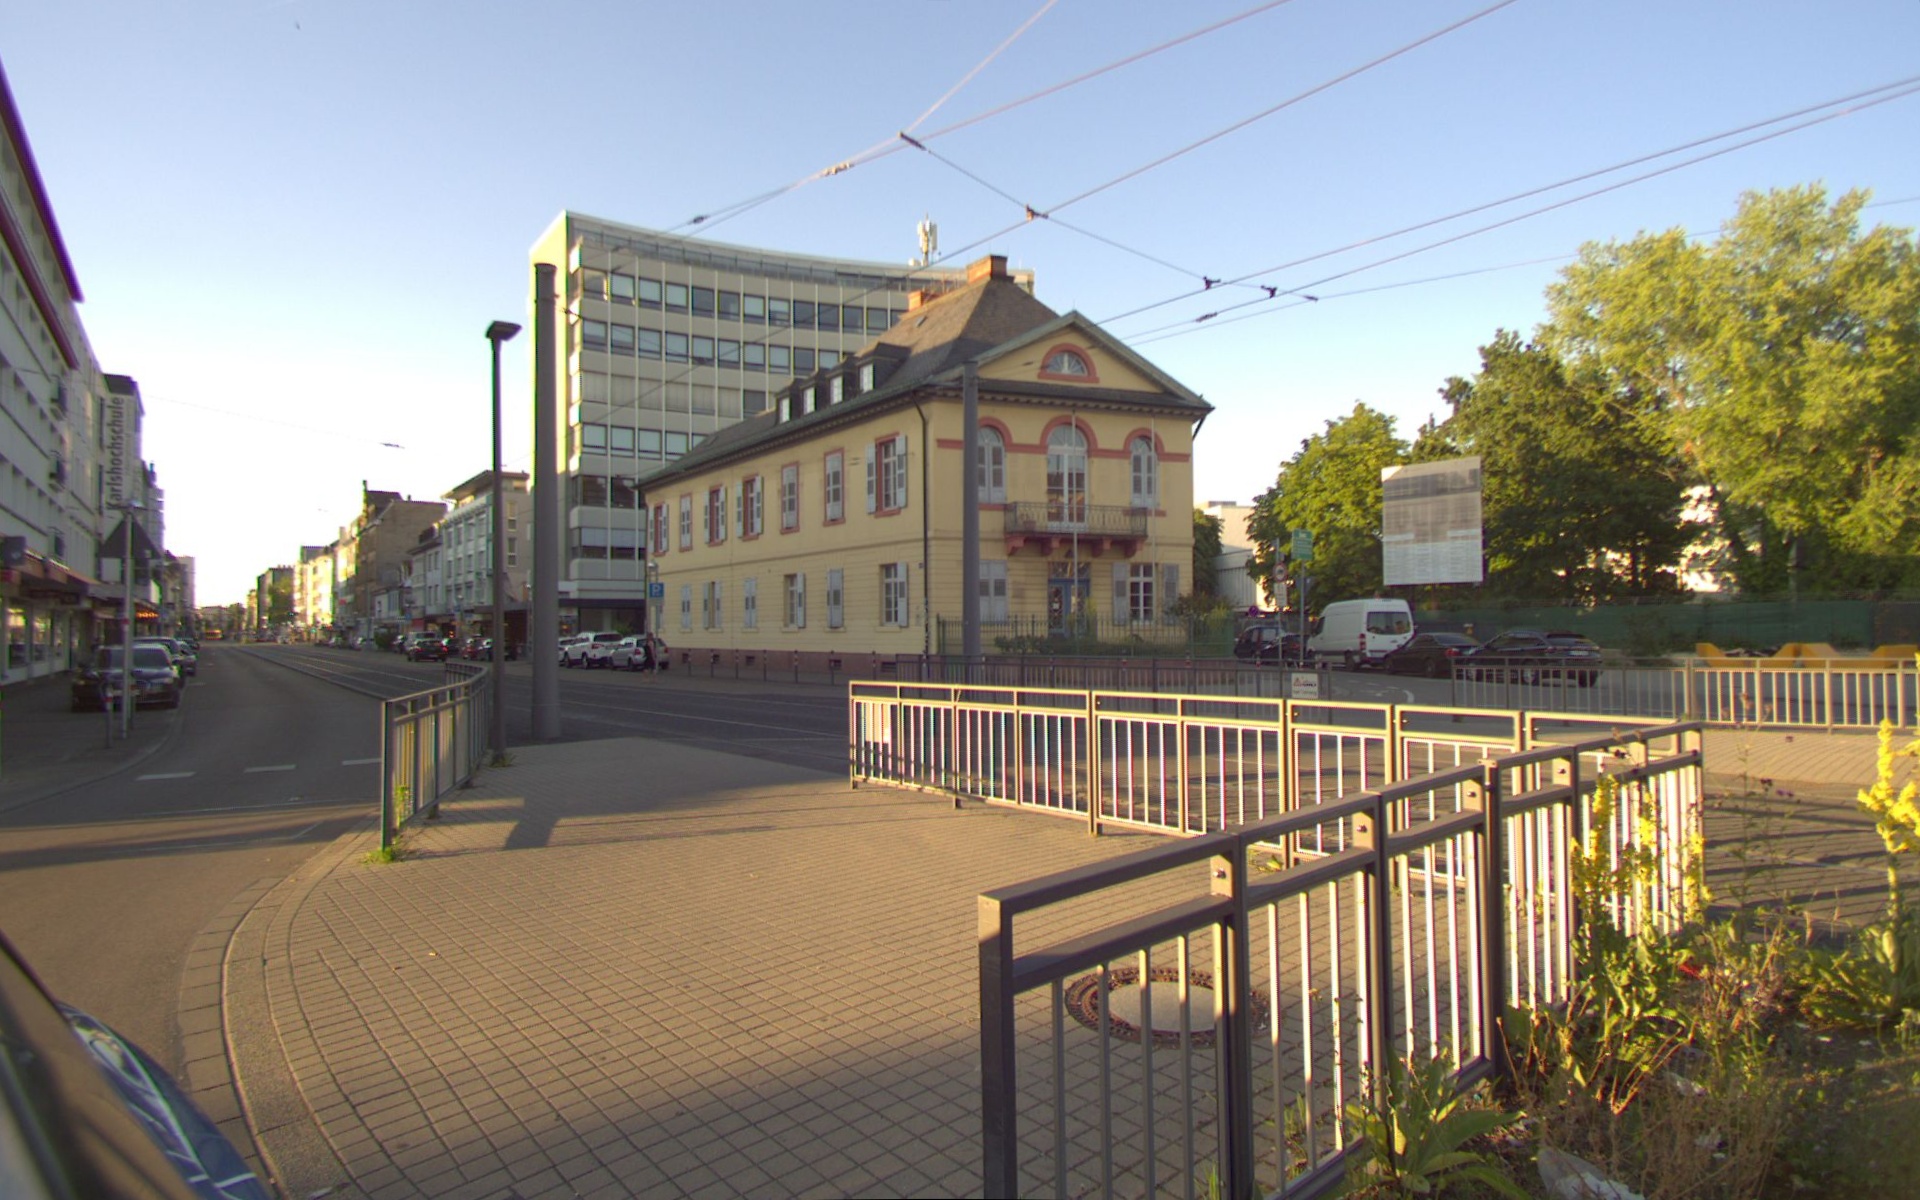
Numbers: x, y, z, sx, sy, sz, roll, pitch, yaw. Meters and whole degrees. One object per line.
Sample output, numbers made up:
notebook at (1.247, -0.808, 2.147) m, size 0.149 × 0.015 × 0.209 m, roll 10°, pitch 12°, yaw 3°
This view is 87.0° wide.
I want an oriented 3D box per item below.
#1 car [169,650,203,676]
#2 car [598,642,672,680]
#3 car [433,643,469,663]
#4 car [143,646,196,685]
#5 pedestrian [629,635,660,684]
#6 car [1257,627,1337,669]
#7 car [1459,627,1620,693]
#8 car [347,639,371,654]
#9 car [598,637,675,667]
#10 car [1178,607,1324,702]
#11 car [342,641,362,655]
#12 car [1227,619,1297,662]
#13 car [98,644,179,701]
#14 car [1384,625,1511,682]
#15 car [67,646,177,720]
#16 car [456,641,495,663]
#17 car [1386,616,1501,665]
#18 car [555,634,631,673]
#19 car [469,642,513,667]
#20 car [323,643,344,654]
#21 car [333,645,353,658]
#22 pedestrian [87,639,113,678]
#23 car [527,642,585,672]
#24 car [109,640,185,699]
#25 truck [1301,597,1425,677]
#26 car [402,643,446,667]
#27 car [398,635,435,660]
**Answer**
car at (-48.102, 3.887, 62.908) m, size 1.633 × 1.474 × 4.031 m, roll -1°, pitch -1°, yaw -37°
car at (-13.960, 2.595, 43.356) m, size 1.725 × 1.485 × 4.008 m, roll -1°, pitch -2°, yaw -37°
car at (-38.122, 3.964, 75.718) m, size 1.766 × 1.472 × 4.100 m, roll 1°, pitch -3°, yaw -36°
car at (-34.903, 2.849, 44.704) m, size 1.769 × 1.544 × 4.866 m, roll -1°, pitch -1°, yaw -38°
pedestrian at (-10.152, 1.906, 32.537) m, size 0.710 × 1.548 × 0.720 m, roll 2°, pitch -3°, yaw -41°
car at (14.513, 2.035, 43.766) m, size 1.971 × 1.589 × 4.001 m, roll -2°, pitch -1°, yaw -1°
car at (15.749, 1.571, 27.789) m, size 1.971 × 1.558 × 4.001 m, roll -2°, pitch -1°, yaw -1°
car at (-67.798, 5.232, 114.100) m, size 1.867 × 1.568 × 4.633 m, roll -1°, pitch -1°, yaw -37°
car at (-19.296, 3.087, 60.383) m, size 3.937 × 1.565 × 1.917 m, roll -1°, pitch -1°, yaw -39°
car at (6.909, 1.248, 23.815) m, size 1.997 × 2.029 × 3.950 m, roll -2°, pitch -3°, yaw 37°
car at (-70.951, 5.602, 118.045) m, size 1.634 × 1.582 × 3.477 m, roll -1°, pitch -1°, yaw -38°
car at (14.377, 1.885, 48.402) m, size 1.971 × 1.900 × 4.001 m, roll -2°, pitch -1°, yaw -1°
car at (-23.567, 2.020, 29.126) m, size 1.630 × 1.431 × 4.200 m, roll -1°, pitch -1°, yaw -37°
car at (15.486, 1.661, 32.387) m, size 1.971 × 1.589 × 4.001 m, roll -2°, pitch -1°, yaw -1°
car at (-19.302, 1.827, 23.469) m, size 1.767 × 1.423 × 4.697 m, roll -1°, pitch -1°, yaw -37°
car at (-32.537, 3.486, 67.932) m, size 1.669 × 1.445 × 3.600 m, roll 0°, pitch -3°, yaw -37°
car at (20.962, 1.758, 43.954) m, size 1.969 × 2.029 × 4.006 m, roll 1°, pitch -3°, yaw -41°
car at (-17.358, 2.503, 47.710) m, size 1.863 × 1.673 × 4.769 m, roll -1°, pitch -1°, yaw -39°
car at (-29.475, 3.429, 63.581) m, size 1.670 × 1.436 × 3.973 m, roll -2°, pitch -1°, yaw -37°
car at (-87.173, 6.752, 140.797) m, size 1.968 × 1.431 × 4.411 m, roll -1°, pitch -1°, yaw -39°
car at (-80.167, 6.703, 131.459) m, size 1.817 × 1.504 × 3.824 m, roll -1°, pitch -1°, yaw -37°
pedestrian at (-35.385, 2.404, 41.644) m, size 0.723 × 1.586 × 0.969 m, roll 1°, pitch -3°, yaw -38°
car at (-21.173, 2.958, 52.950) m, size 1.698 × 1.464 × 4.292 m, roll -1°, pitch -1°, yaw -38°
car at (-26.787, 2.230, 33.462) m, size 1.832 × 1.714 × 4.427 m, roll -1°, pitch -1°, yaw -38°
truck at (15.017, 1.315, 38.131) m, size 2.164 × 2.719 × 5.470 m, roll -2°, pitch -1°, yaw -3°
car at (-33.657, 3.417, 63.536) m, size 1.744 × 1.387 × 4.231 m, roll 1°, pitch -2°, yaw -37°
car at (-46.782, 4.069, 87.119) m, size 1.939 × 2.029 × 5.110 m, roll -1°, pitch -1°, yaw -38°
